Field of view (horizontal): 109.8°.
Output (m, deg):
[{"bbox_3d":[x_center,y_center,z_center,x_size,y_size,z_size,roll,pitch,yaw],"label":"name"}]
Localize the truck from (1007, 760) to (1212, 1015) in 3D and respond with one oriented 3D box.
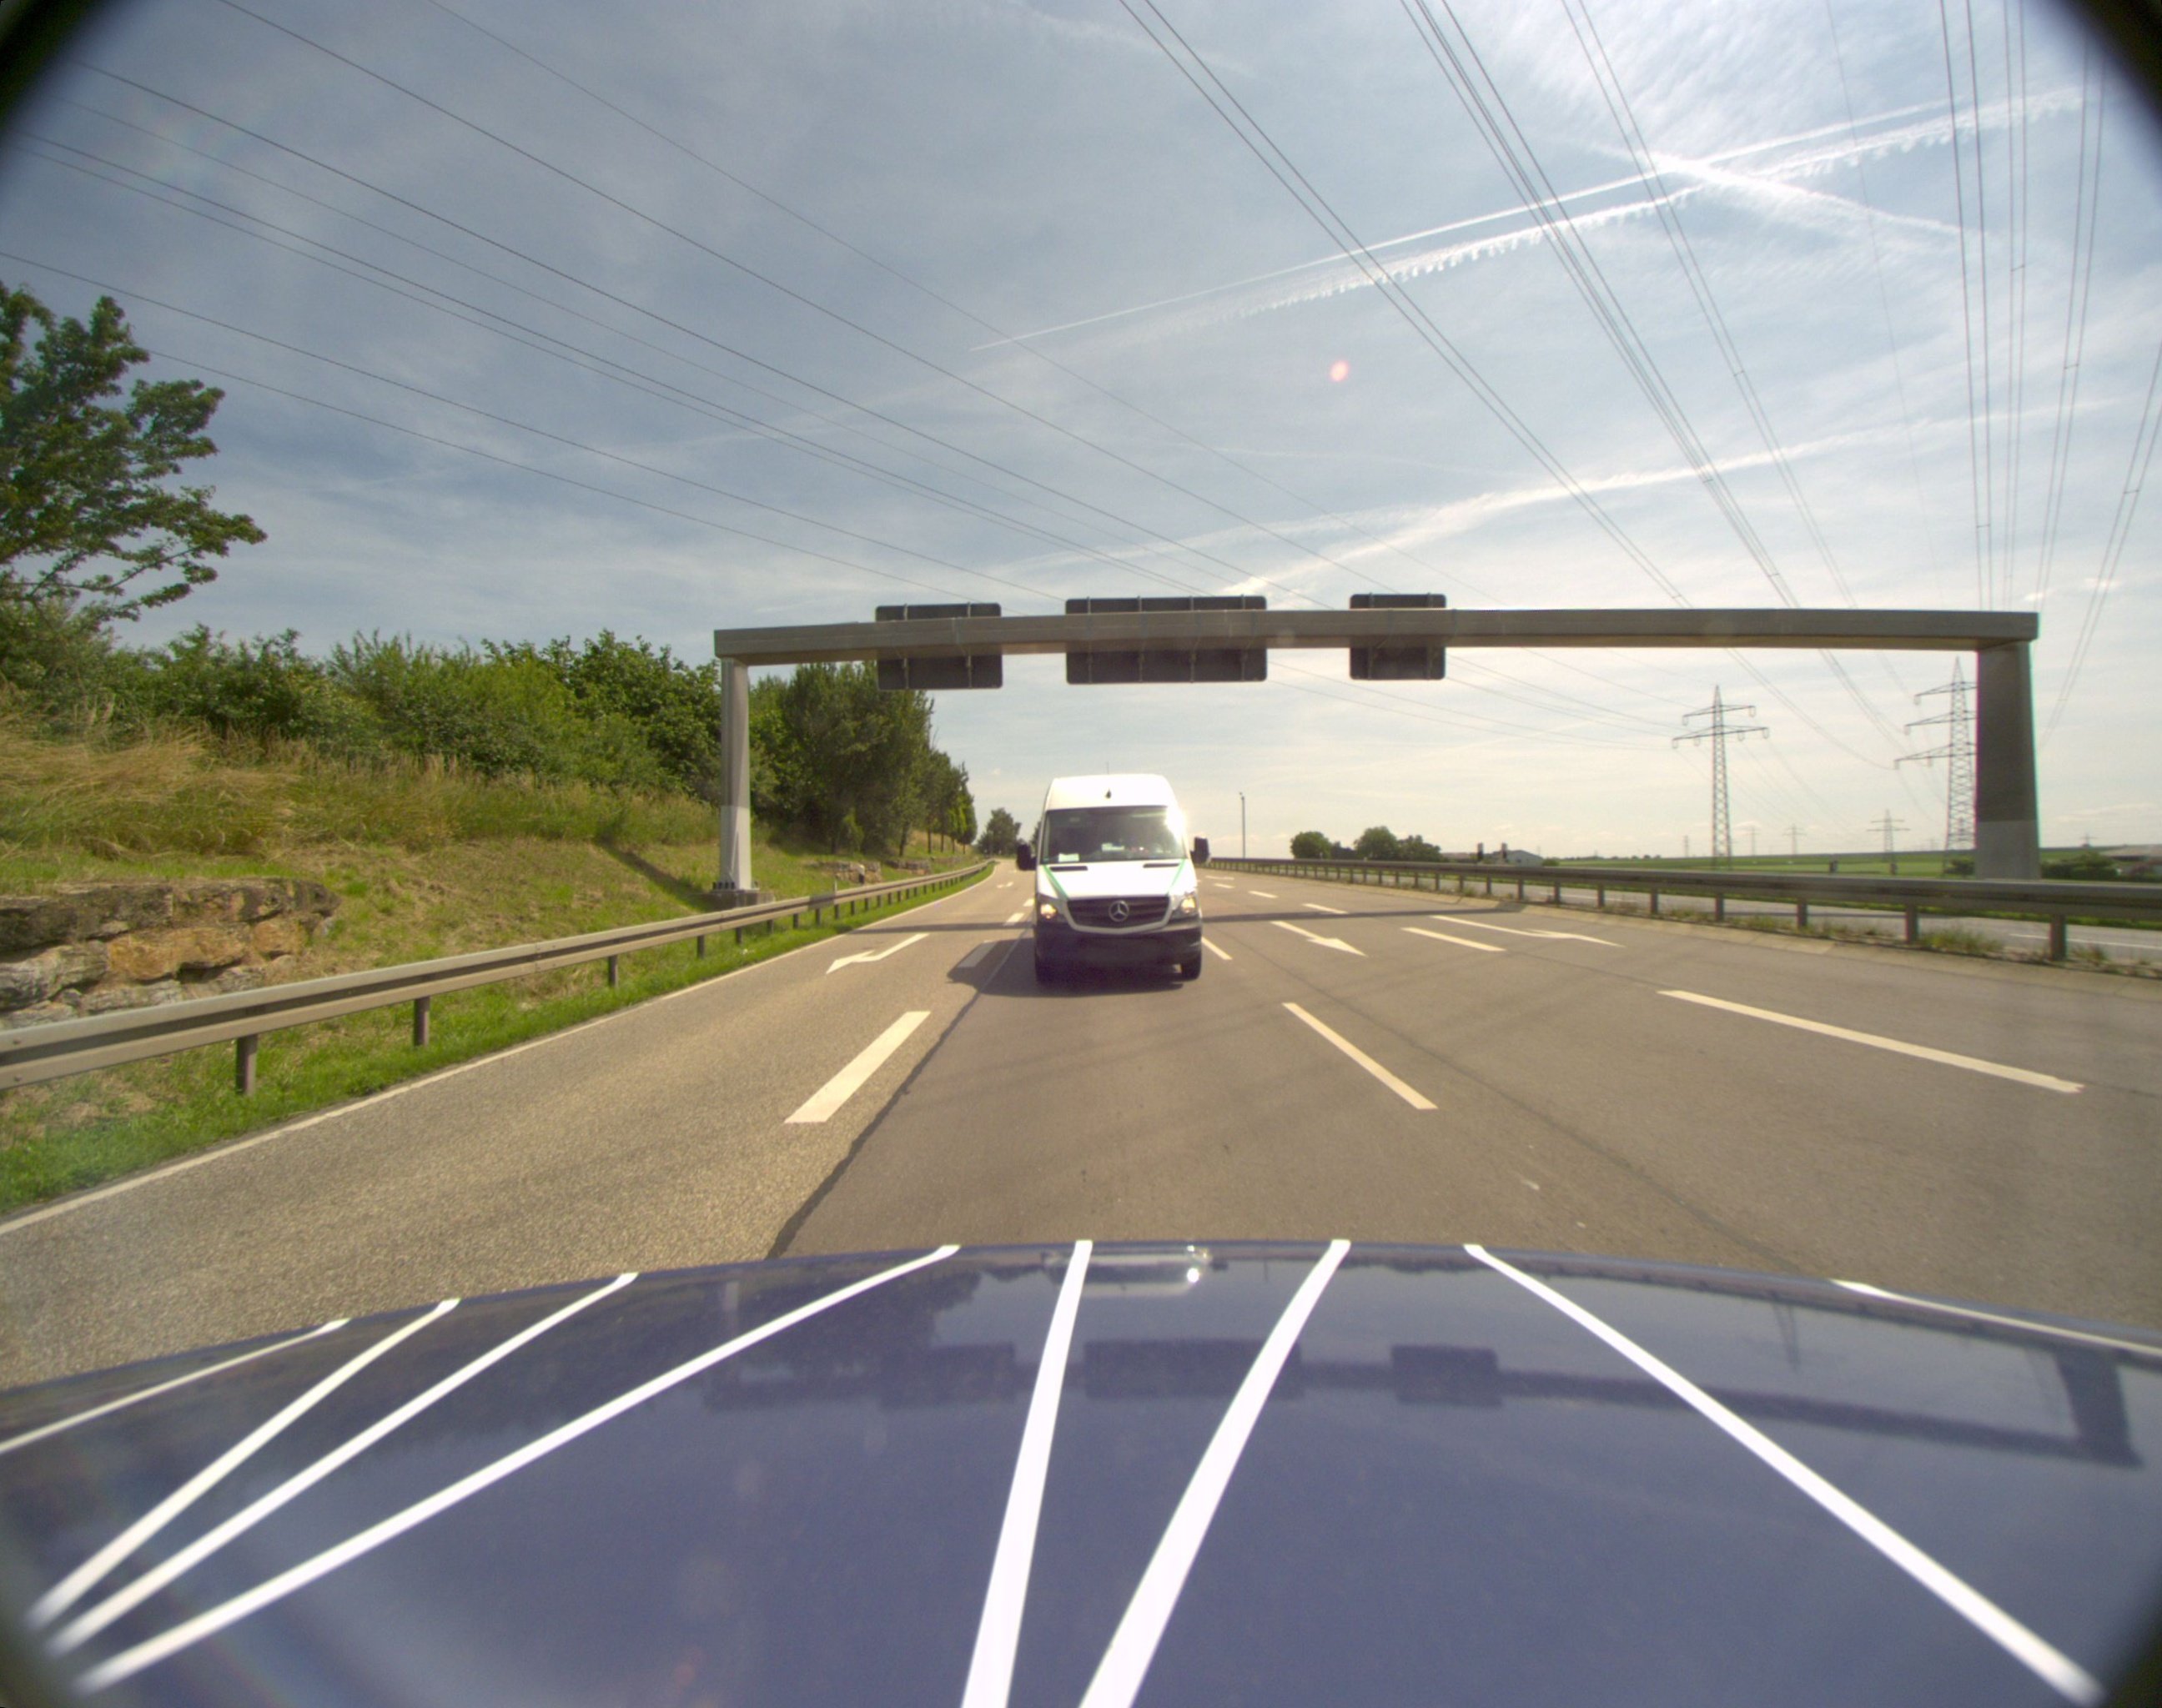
[{"bbox_3d":[0.352,0.313,10.208,1.998,2.518,5.105,-2,1,1],"label":"truck"}]
